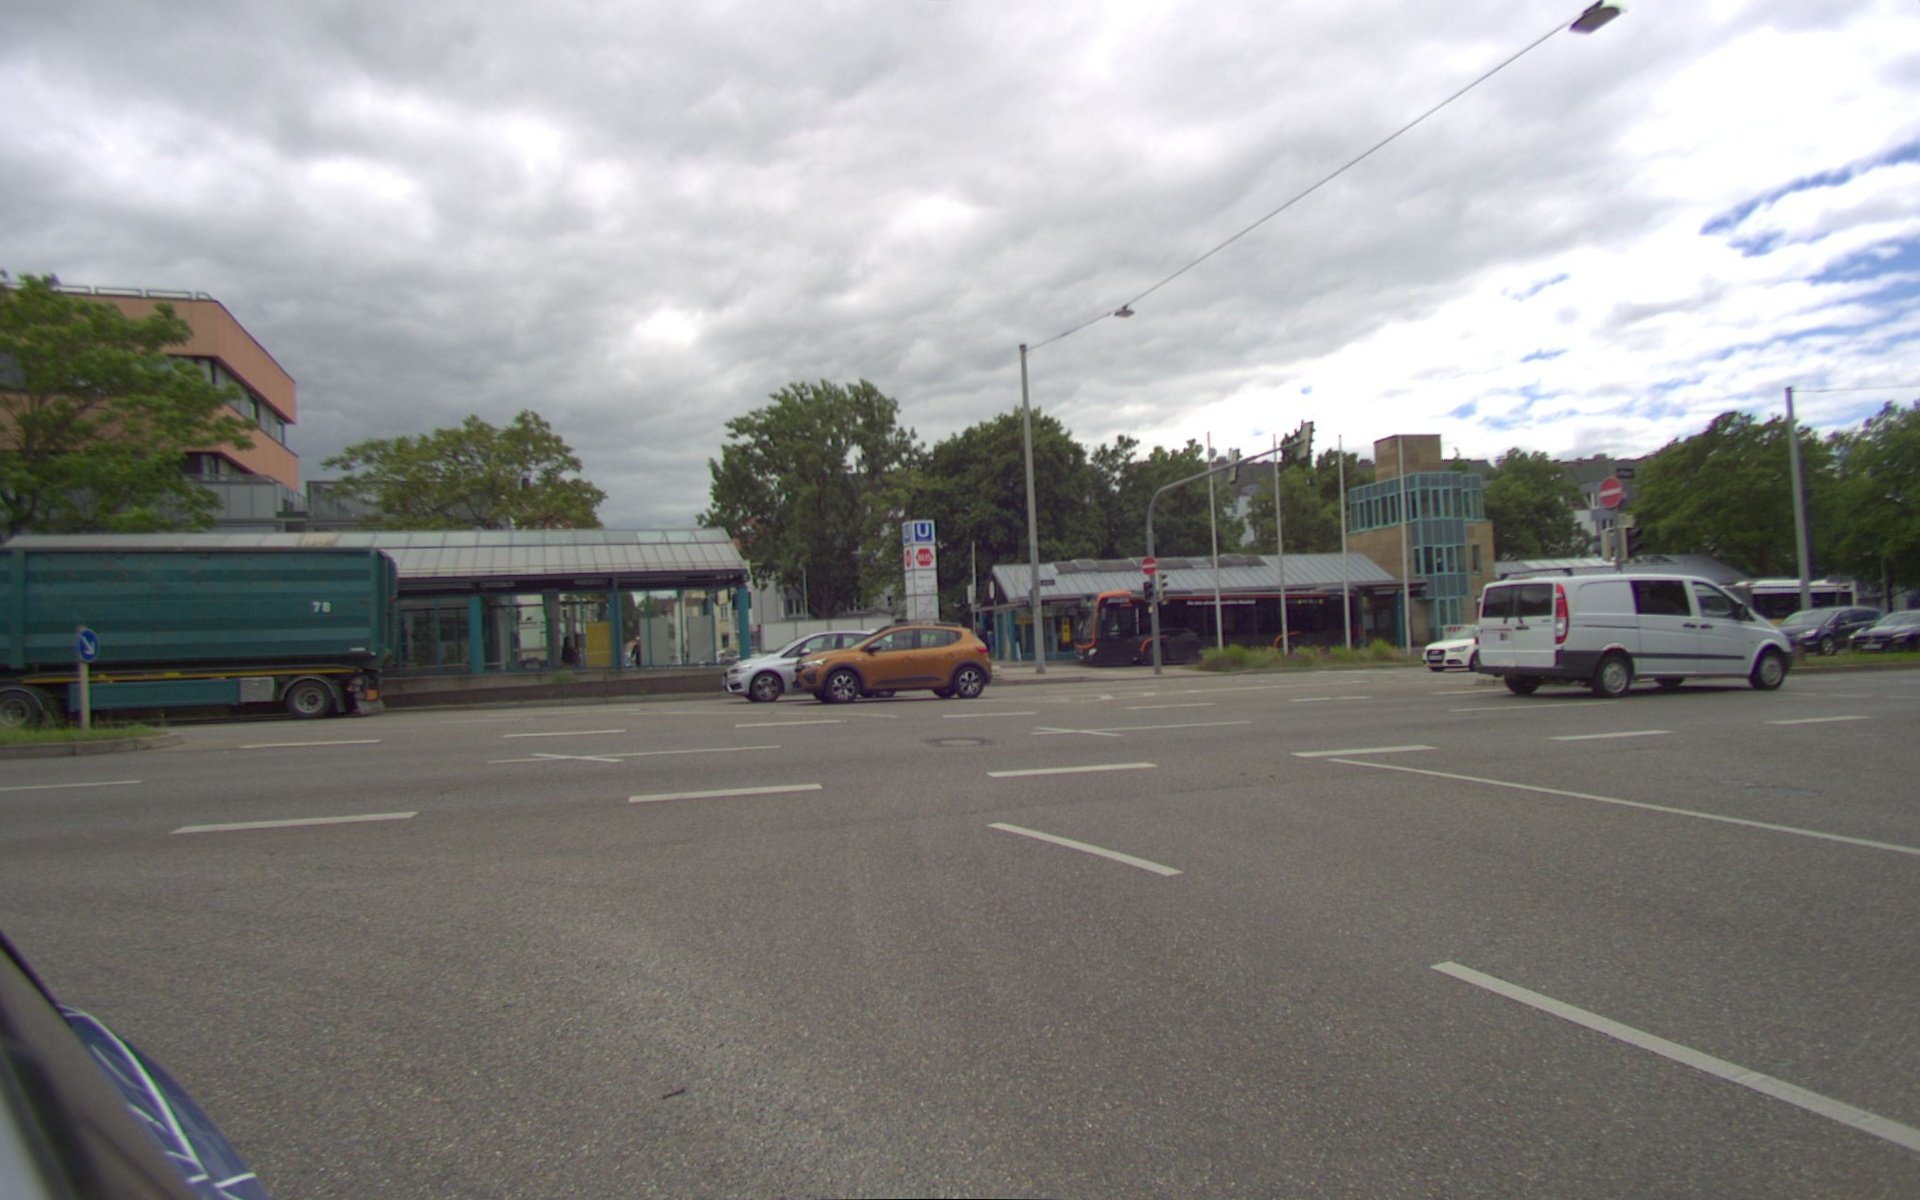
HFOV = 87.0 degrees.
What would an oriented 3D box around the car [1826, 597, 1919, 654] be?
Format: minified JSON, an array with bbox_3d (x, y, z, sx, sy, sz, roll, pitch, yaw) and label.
[{"bbox_3d":[28.581,0.763,30.445,3.931,1.586,2.006,-1,-3,-18],"label":"car"}]

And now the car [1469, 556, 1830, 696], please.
[{"bbox_3d":[11.000,0.432,16.238,4.990,2.029,1.885,0,-4,-15],"label":"car"}]

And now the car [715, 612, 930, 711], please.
[{"bbox_3d":[-3.150,1.356,22.999,4.490,2.029,2.006,-1,-3,-19],"label":"car"}]

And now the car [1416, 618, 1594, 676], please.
[{"bbox_3d":[15.844,1.347,29.473,4.415,1.518,2.006,-1,-3,-18],"label":"car"}]

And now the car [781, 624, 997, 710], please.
[{"bbox_3d":[-1.480,1.325,20.456,3.931,1.528,2.006,-1,-3,-19],"label":"car"}]

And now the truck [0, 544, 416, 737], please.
[{"bbox_3d":[-16.619,0.858,22.066,7.889,3.756,3.389,0,-3,-17],"label":"truck"}]

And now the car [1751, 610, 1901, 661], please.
[{"bbox_3d":[29.183,1.202,34.136,3.931,1.586,2.006,-1,-3,-18],"label":"car"}]

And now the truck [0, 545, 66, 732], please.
[{"bbox_3d":[-24.825,0.847,19.373,11.086,3.756,3.389,0,-2,-18],"label":"truck"}]

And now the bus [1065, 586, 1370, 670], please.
[{"bbox_3d":[10.590,1.128,41.810,11.960,3.157,2.973,-1,-2,-11],"label":"bus"}]
